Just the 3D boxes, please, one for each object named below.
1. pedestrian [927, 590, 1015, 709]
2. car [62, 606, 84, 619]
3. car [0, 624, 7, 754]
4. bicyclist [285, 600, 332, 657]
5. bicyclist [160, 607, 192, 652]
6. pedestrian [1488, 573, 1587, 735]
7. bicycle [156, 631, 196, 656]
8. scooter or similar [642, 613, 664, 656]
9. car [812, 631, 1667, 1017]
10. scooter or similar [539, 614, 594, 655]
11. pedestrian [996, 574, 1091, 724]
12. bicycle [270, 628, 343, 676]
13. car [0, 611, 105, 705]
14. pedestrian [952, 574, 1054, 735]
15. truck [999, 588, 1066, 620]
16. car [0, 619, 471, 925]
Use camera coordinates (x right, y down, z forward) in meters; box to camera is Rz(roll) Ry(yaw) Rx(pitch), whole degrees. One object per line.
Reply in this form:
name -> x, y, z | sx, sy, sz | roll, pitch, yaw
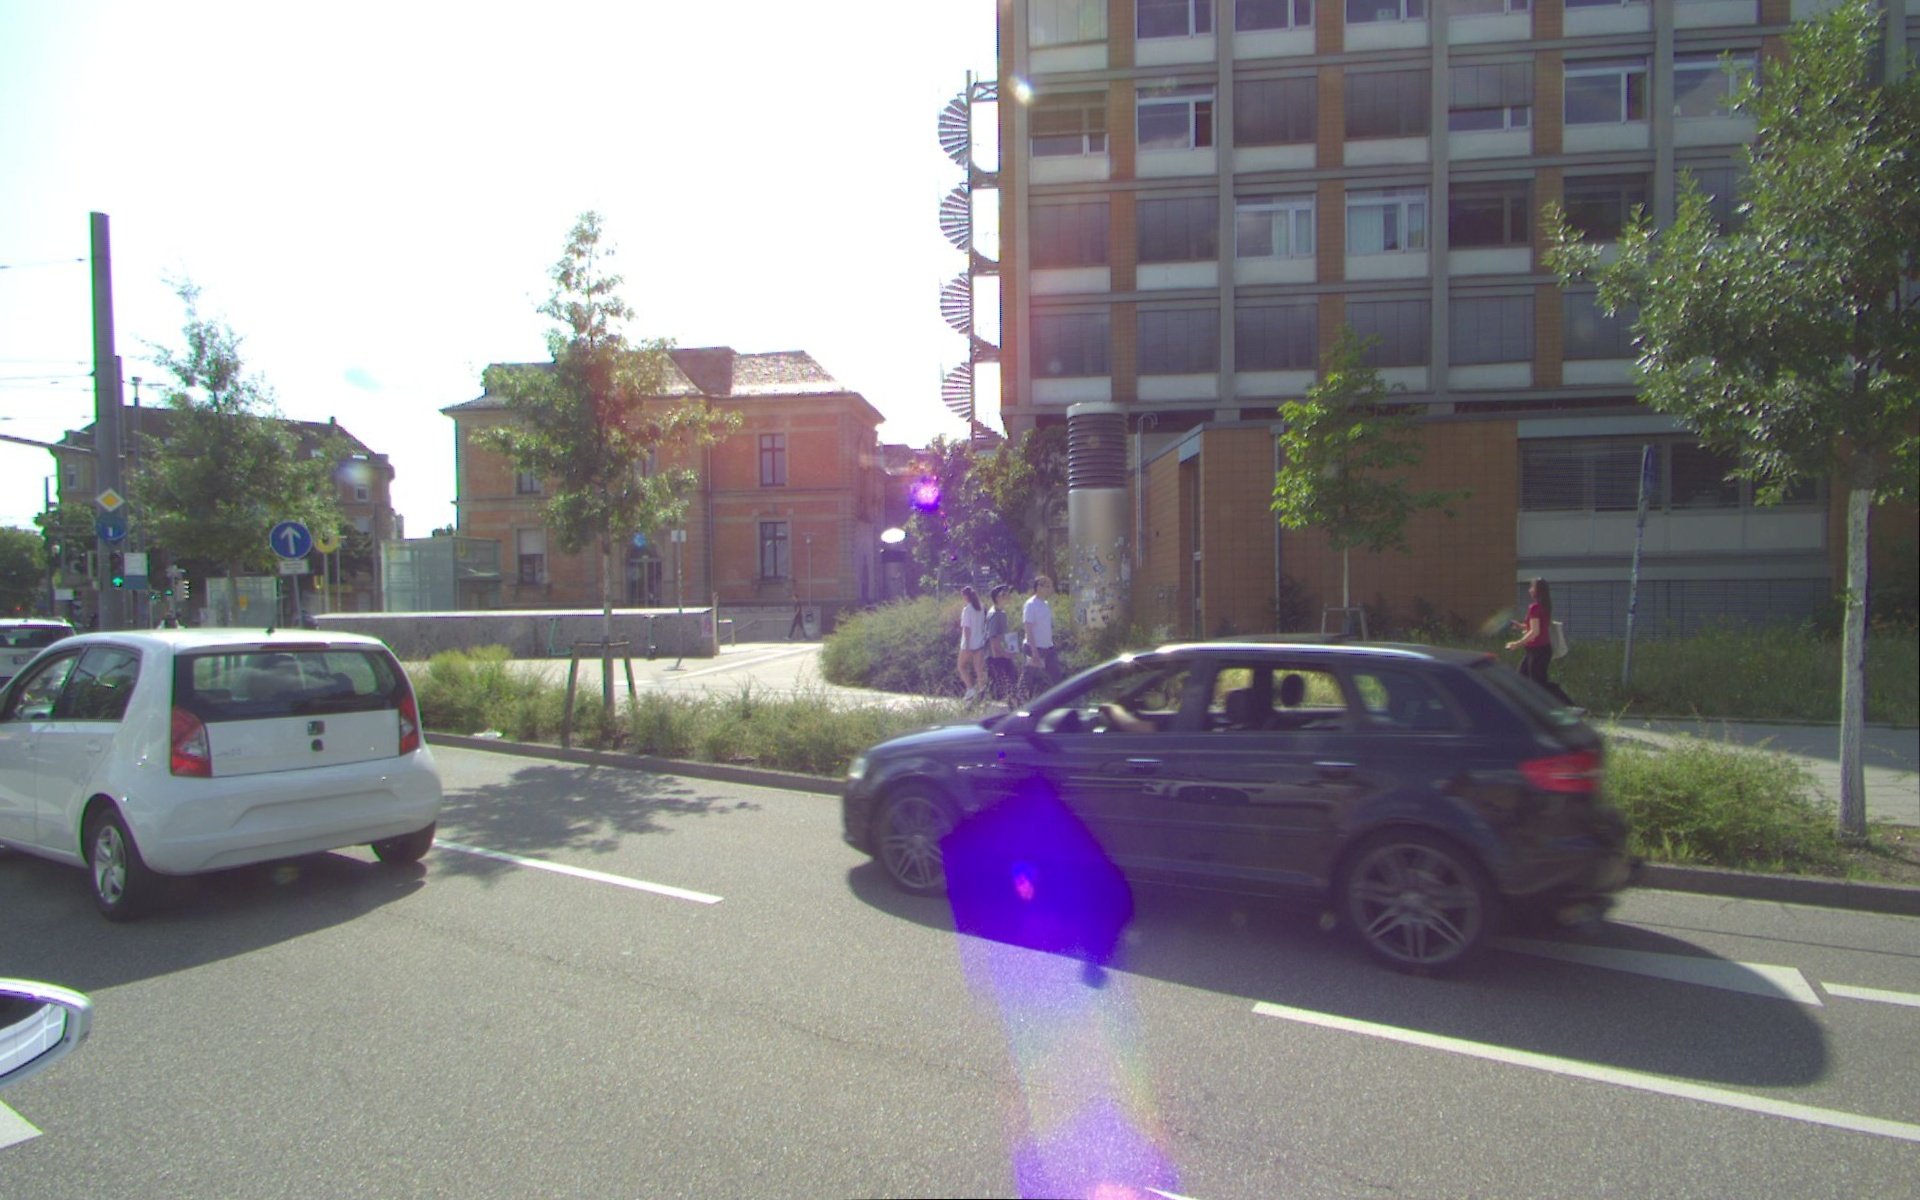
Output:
pedestrian -> 0.157, 0.706, 14.584 | 1.083, 1.645, 0.611 | -1, 3, 40
car -> -116.103, 1.642, 131.092 | 1.820, 1.673, 3.971 | 0, -1, -37
car -> -12.614, 1.008, 11.485 | 3.631, 1.437, 1.844 | -1, -1, 36
bicyclist -> -14.856, 0.635, 22.826 | 0.913, 1.237, 0.631 | 1, 3, 41
bicyclist -> -25.686, 0.962, 32.796 | 0.763, 1.470, 0.607 | 0, 0, 33
pedestrian -> 6.183, 0.558, 10.720 | 0.877, 1.645, 0.612 | -1, 3, 32
bicycle -> -25.708, 1.417, 32.836 | 1.599, 0.786, 0.583 | -1, 0, 34
scooter or similar -> -8.334, 0.923, 27.230 | 0.457, 1.119, 1.316 | -1, 1, -13
car -> 1.312, 0.892, 5.514 | 4.072, 1.390, 1.696 | -1, 0, 31
scooter or similar -> -11.245, 0.982, 28.609 | 1.420, 1.133, 0.465 | 0, 2, 13
pedestrian -> 1.046, 0.590, 12.490 | 0.877, 1.770, 0.740 | -1, 3, 33
bicycle -> -14.966, 1.173, 22.922 | 1.938, 0.983, 0.842 | 0, 3, 40
car -> -18.190, 1.080, 19.348 | 3.951, 1.673, 1.829 | -2, -1, 39
pedestrian -> 0.503, 0.607, 11.692 | 0.877, 1.778, 0.740 | -1, 3, 33
truck -> 4.925, 0.274, 67.489 | 4.304, 2.039, 2.000 | 0, -2, 11
car -> -5.091, 0.848, 6.476 | 3.942, 1.440, 1.647 | -1, -1, 32
